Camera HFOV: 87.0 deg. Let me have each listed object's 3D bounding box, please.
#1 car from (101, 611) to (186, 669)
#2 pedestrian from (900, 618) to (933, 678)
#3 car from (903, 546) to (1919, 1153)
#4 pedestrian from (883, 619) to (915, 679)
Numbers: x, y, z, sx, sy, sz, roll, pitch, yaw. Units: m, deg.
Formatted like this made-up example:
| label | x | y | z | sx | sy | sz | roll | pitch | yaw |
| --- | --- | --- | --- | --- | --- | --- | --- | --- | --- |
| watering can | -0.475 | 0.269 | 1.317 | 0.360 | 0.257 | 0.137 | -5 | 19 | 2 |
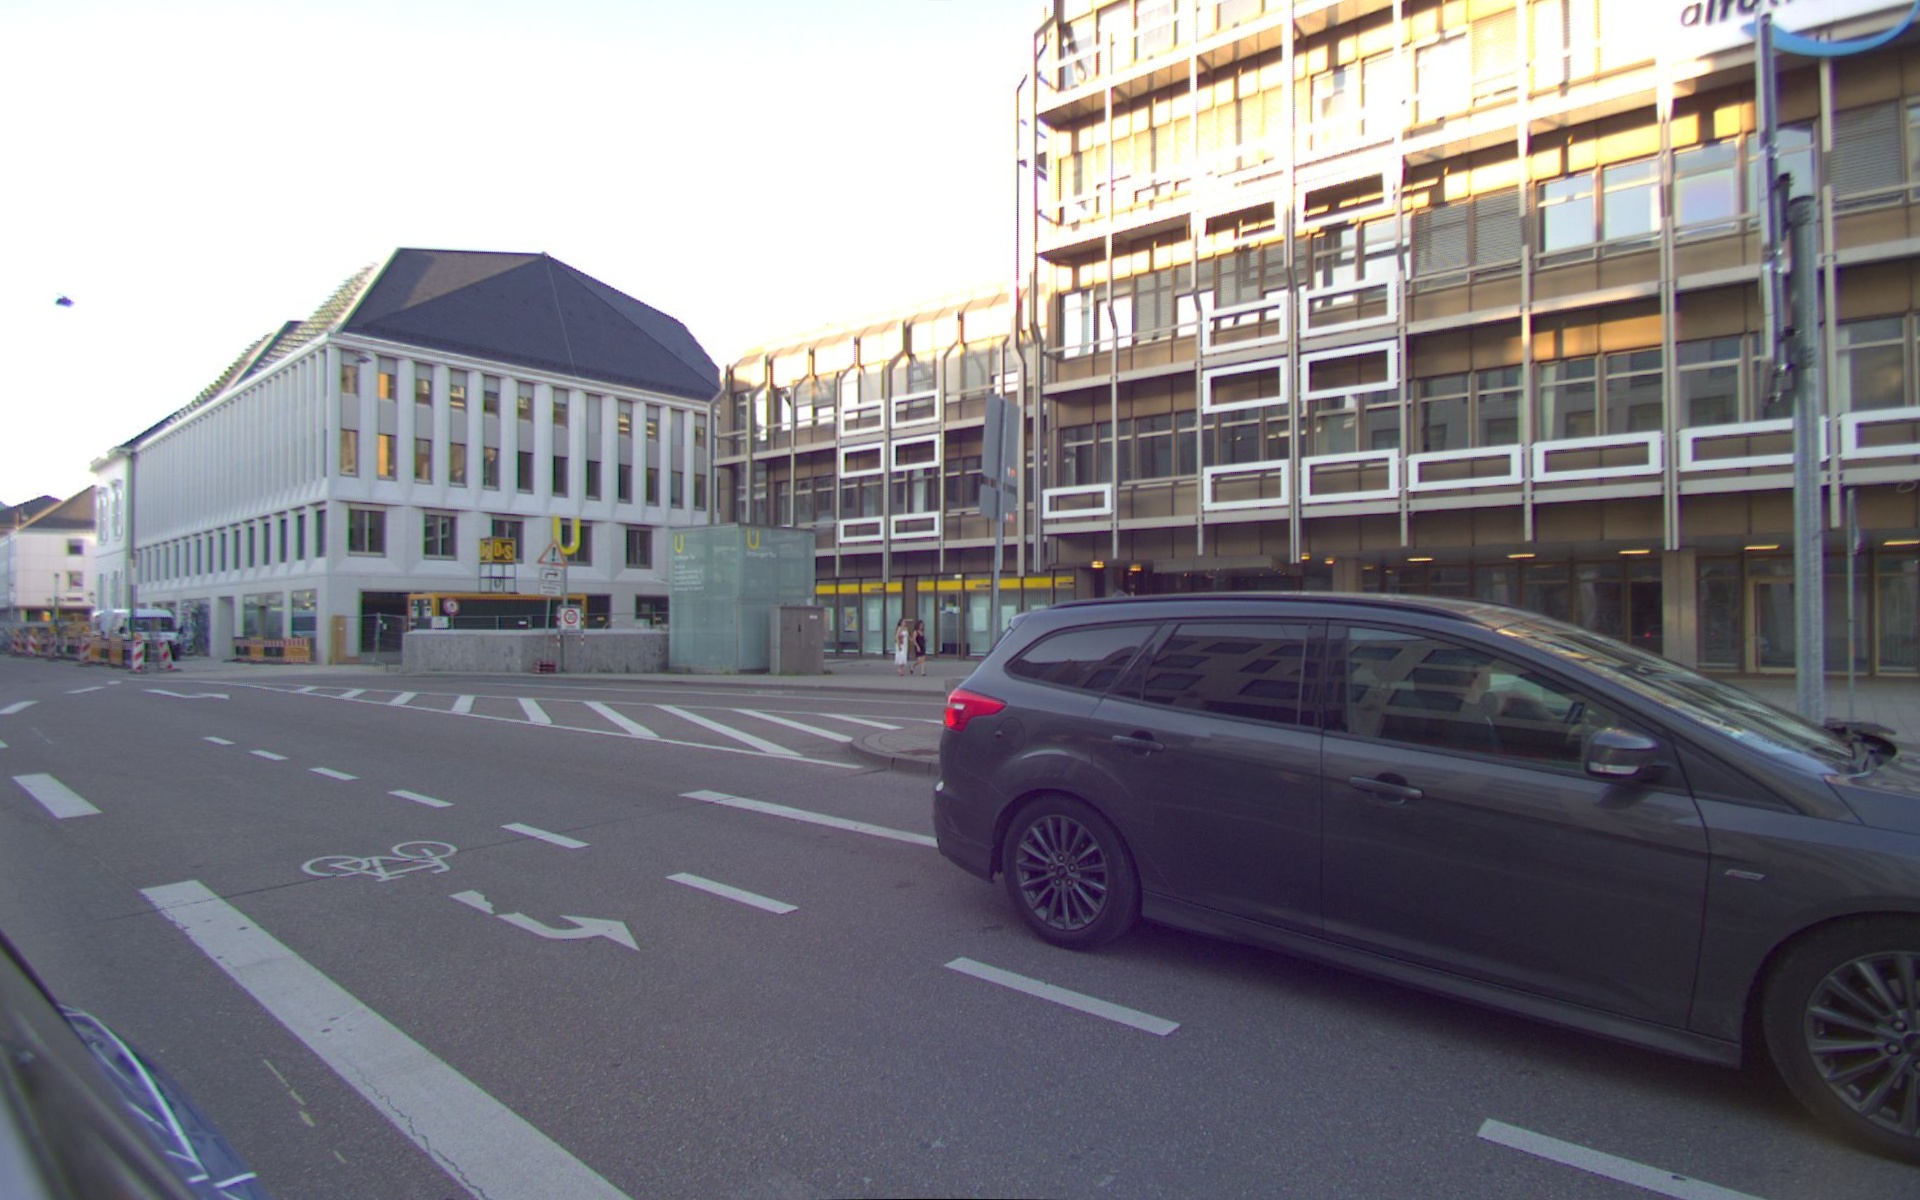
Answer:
| label | x | y | z | sx | sy | sz | roll | pitch | yaw |
| --- | --- | --- | --- | --- | --- | --- | --- | --- | --- |
| car | -39.048 | 1.895 | 48.327 | 6.047 | 2.575 | 2.114 | -2 | -2 | 41 |
| pedestrian | -1.223 | 1.347 | 28.638 | 0.702 | 1.652 | 0.608 | -2 | -3 | 41 |
| car | 1.975 | 0.626 | 3.898 | 4.377 | 1.473 | 1.740 | -2 | -1 | 40 |
| pedestrian | -1.704 | 1.347 | 28.185 | 0.583 | 1.652 | 0.662 | -2 | -3 | 41 |
